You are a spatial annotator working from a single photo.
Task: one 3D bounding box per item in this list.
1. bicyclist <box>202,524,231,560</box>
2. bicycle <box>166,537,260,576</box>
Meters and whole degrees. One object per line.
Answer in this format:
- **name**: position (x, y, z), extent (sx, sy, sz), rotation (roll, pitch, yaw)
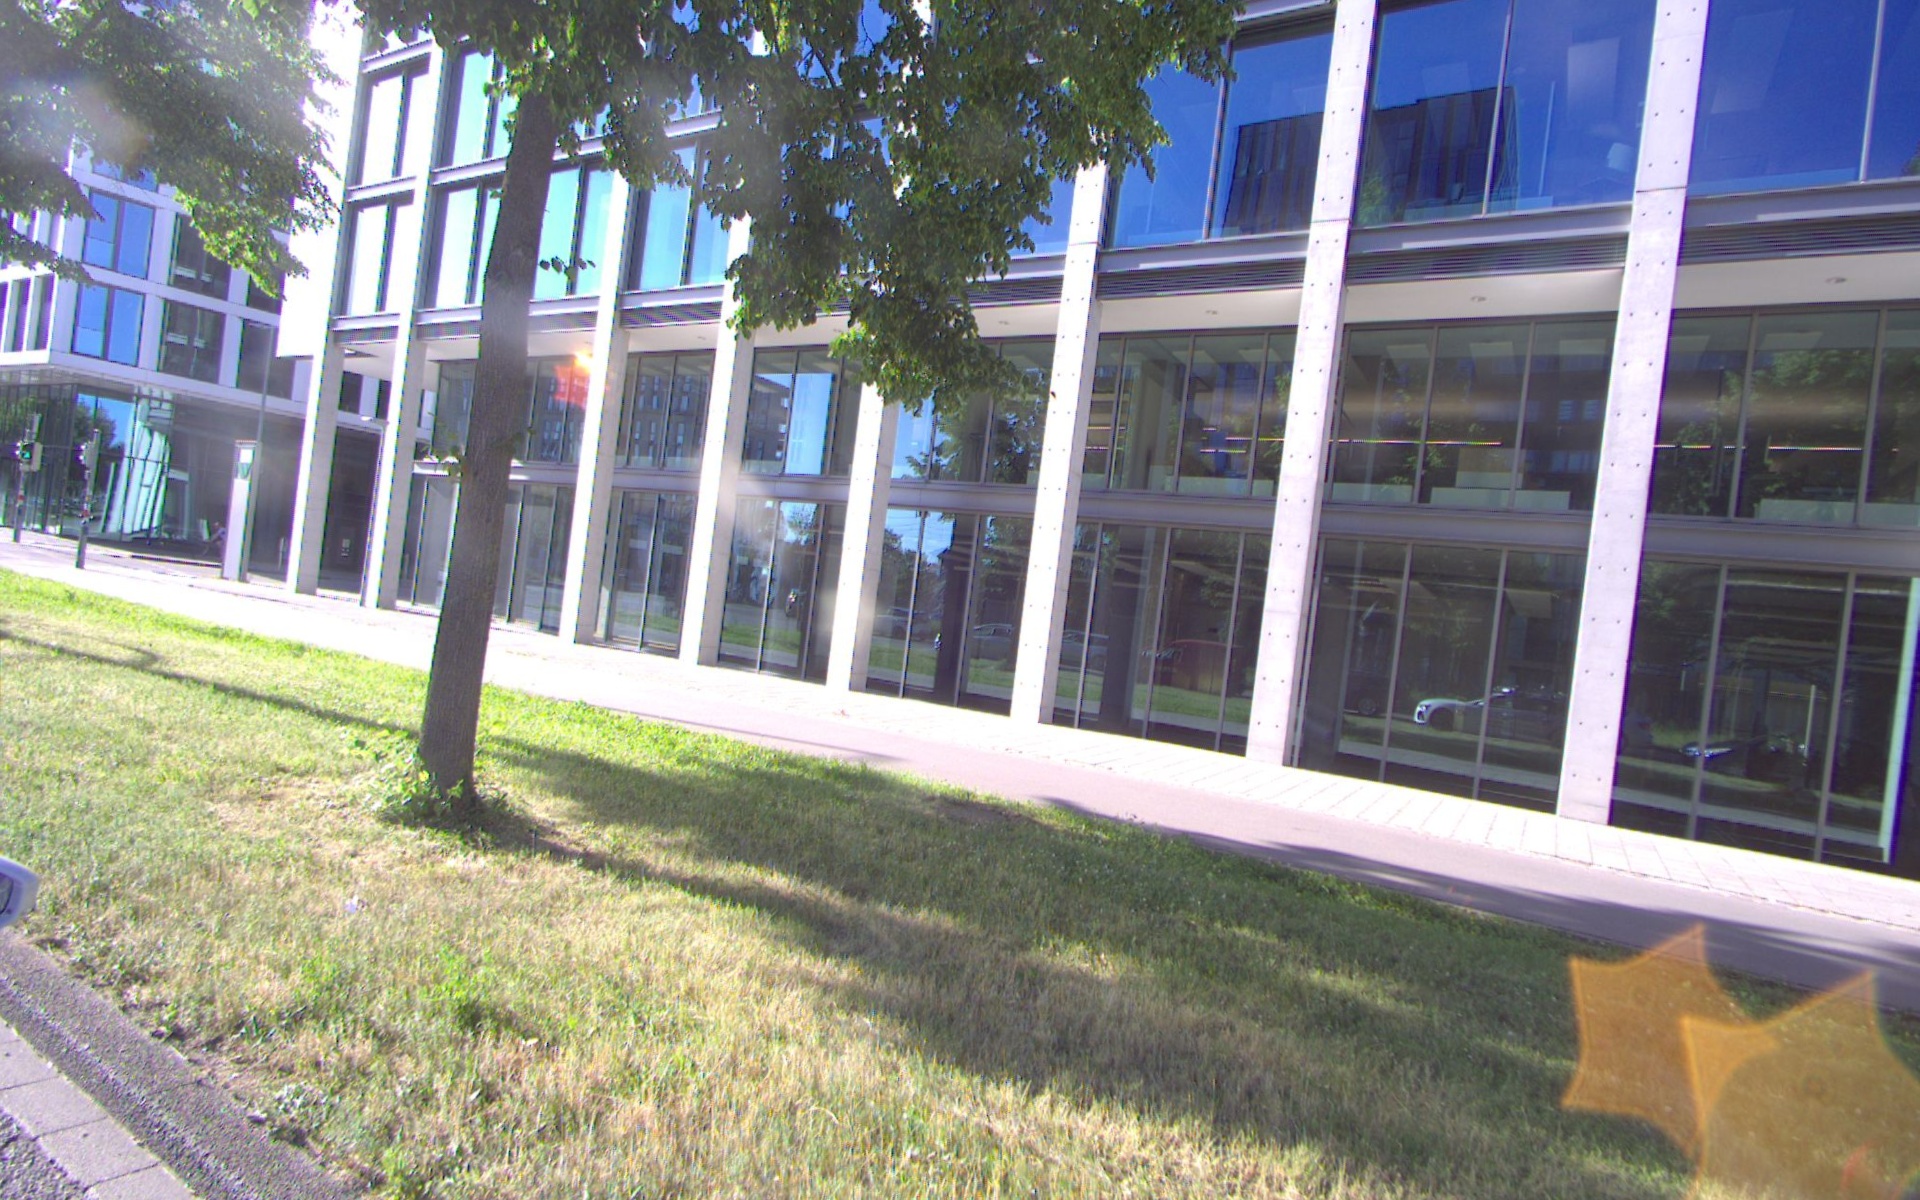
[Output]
- **bicyclist**: position (-29.524, -2.310, 39.927), extent (0.810, 1.290, 0.679), rotation (7, 0, 44)
- **bicycle**: position (-29.620, -1.709, 39.919), extent (0.810, 1.128, 2.831), rotation (7, -1, 44)
